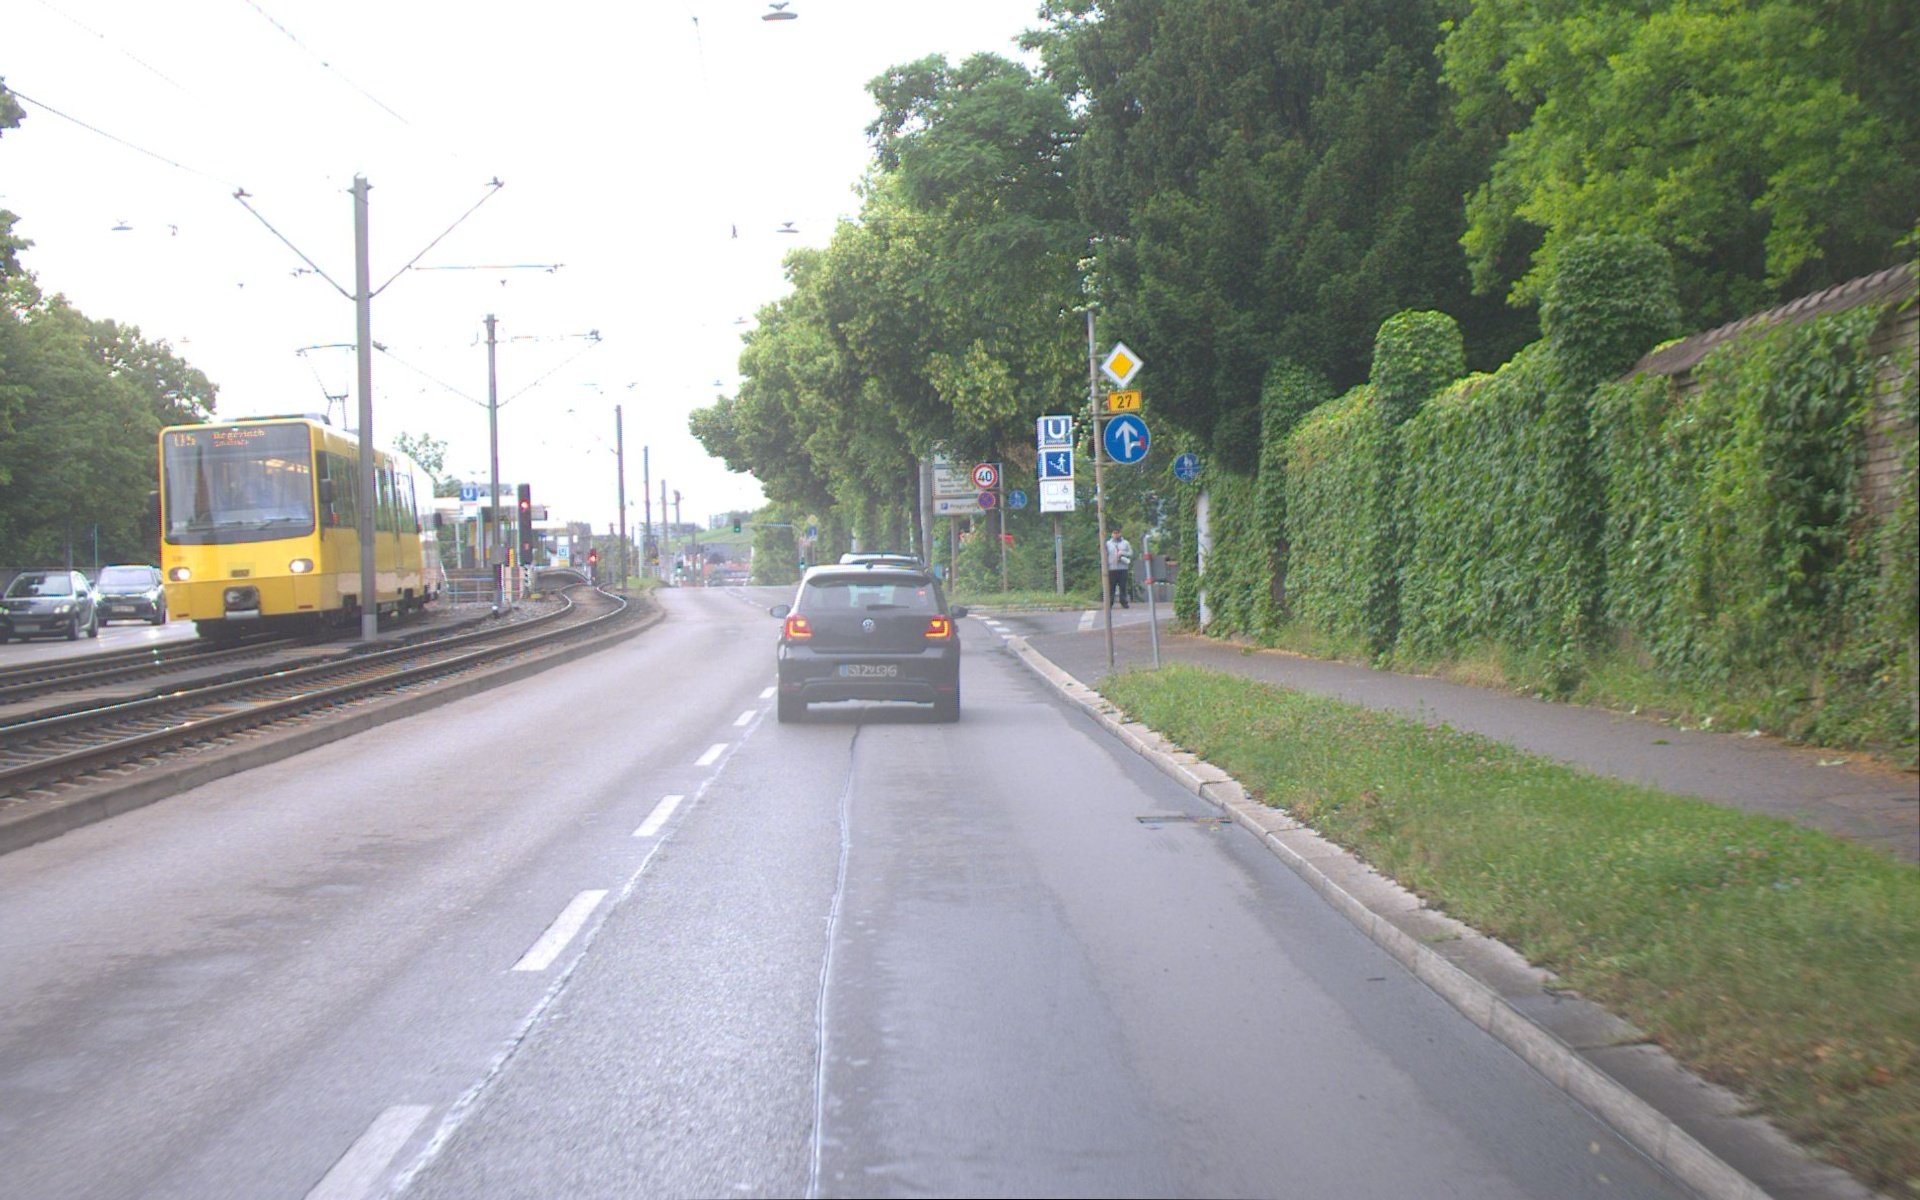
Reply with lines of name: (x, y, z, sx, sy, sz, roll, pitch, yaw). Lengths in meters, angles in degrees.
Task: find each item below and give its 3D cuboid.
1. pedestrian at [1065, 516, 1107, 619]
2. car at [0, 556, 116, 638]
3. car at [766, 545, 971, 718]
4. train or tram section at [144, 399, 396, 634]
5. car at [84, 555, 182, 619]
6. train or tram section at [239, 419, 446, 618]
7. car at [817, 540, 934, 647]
pedestrian: (3.653, -0.953, 99.914, 1.164, 2.967, 0.948, 0, 1, -2)
car: (-19.227, -0.083, 73.043, 1.733, 1.656, 4.001, 0, 1, -2)
car: (-0.905, 0.247, 32.289, 1.793, 1.480, 3.965, 0, 1, -3)
train or tram section: (-11.329, -1.371, 57.288, 2.831, 3.593, 9.272, 0, 1, -3)
car: (-22.127, -0.375, 92.139, 1.792, 1.656, 4.001, 0, 1, -2)
train or tram section: (-11.814, -1.556, 66.530, 2.831, 3.593, 9.272, 0, 1, -3)
car: (-1.257, -0.126, 52.099, 1.676, 1.525, 3.722, -1, 1, -1)
